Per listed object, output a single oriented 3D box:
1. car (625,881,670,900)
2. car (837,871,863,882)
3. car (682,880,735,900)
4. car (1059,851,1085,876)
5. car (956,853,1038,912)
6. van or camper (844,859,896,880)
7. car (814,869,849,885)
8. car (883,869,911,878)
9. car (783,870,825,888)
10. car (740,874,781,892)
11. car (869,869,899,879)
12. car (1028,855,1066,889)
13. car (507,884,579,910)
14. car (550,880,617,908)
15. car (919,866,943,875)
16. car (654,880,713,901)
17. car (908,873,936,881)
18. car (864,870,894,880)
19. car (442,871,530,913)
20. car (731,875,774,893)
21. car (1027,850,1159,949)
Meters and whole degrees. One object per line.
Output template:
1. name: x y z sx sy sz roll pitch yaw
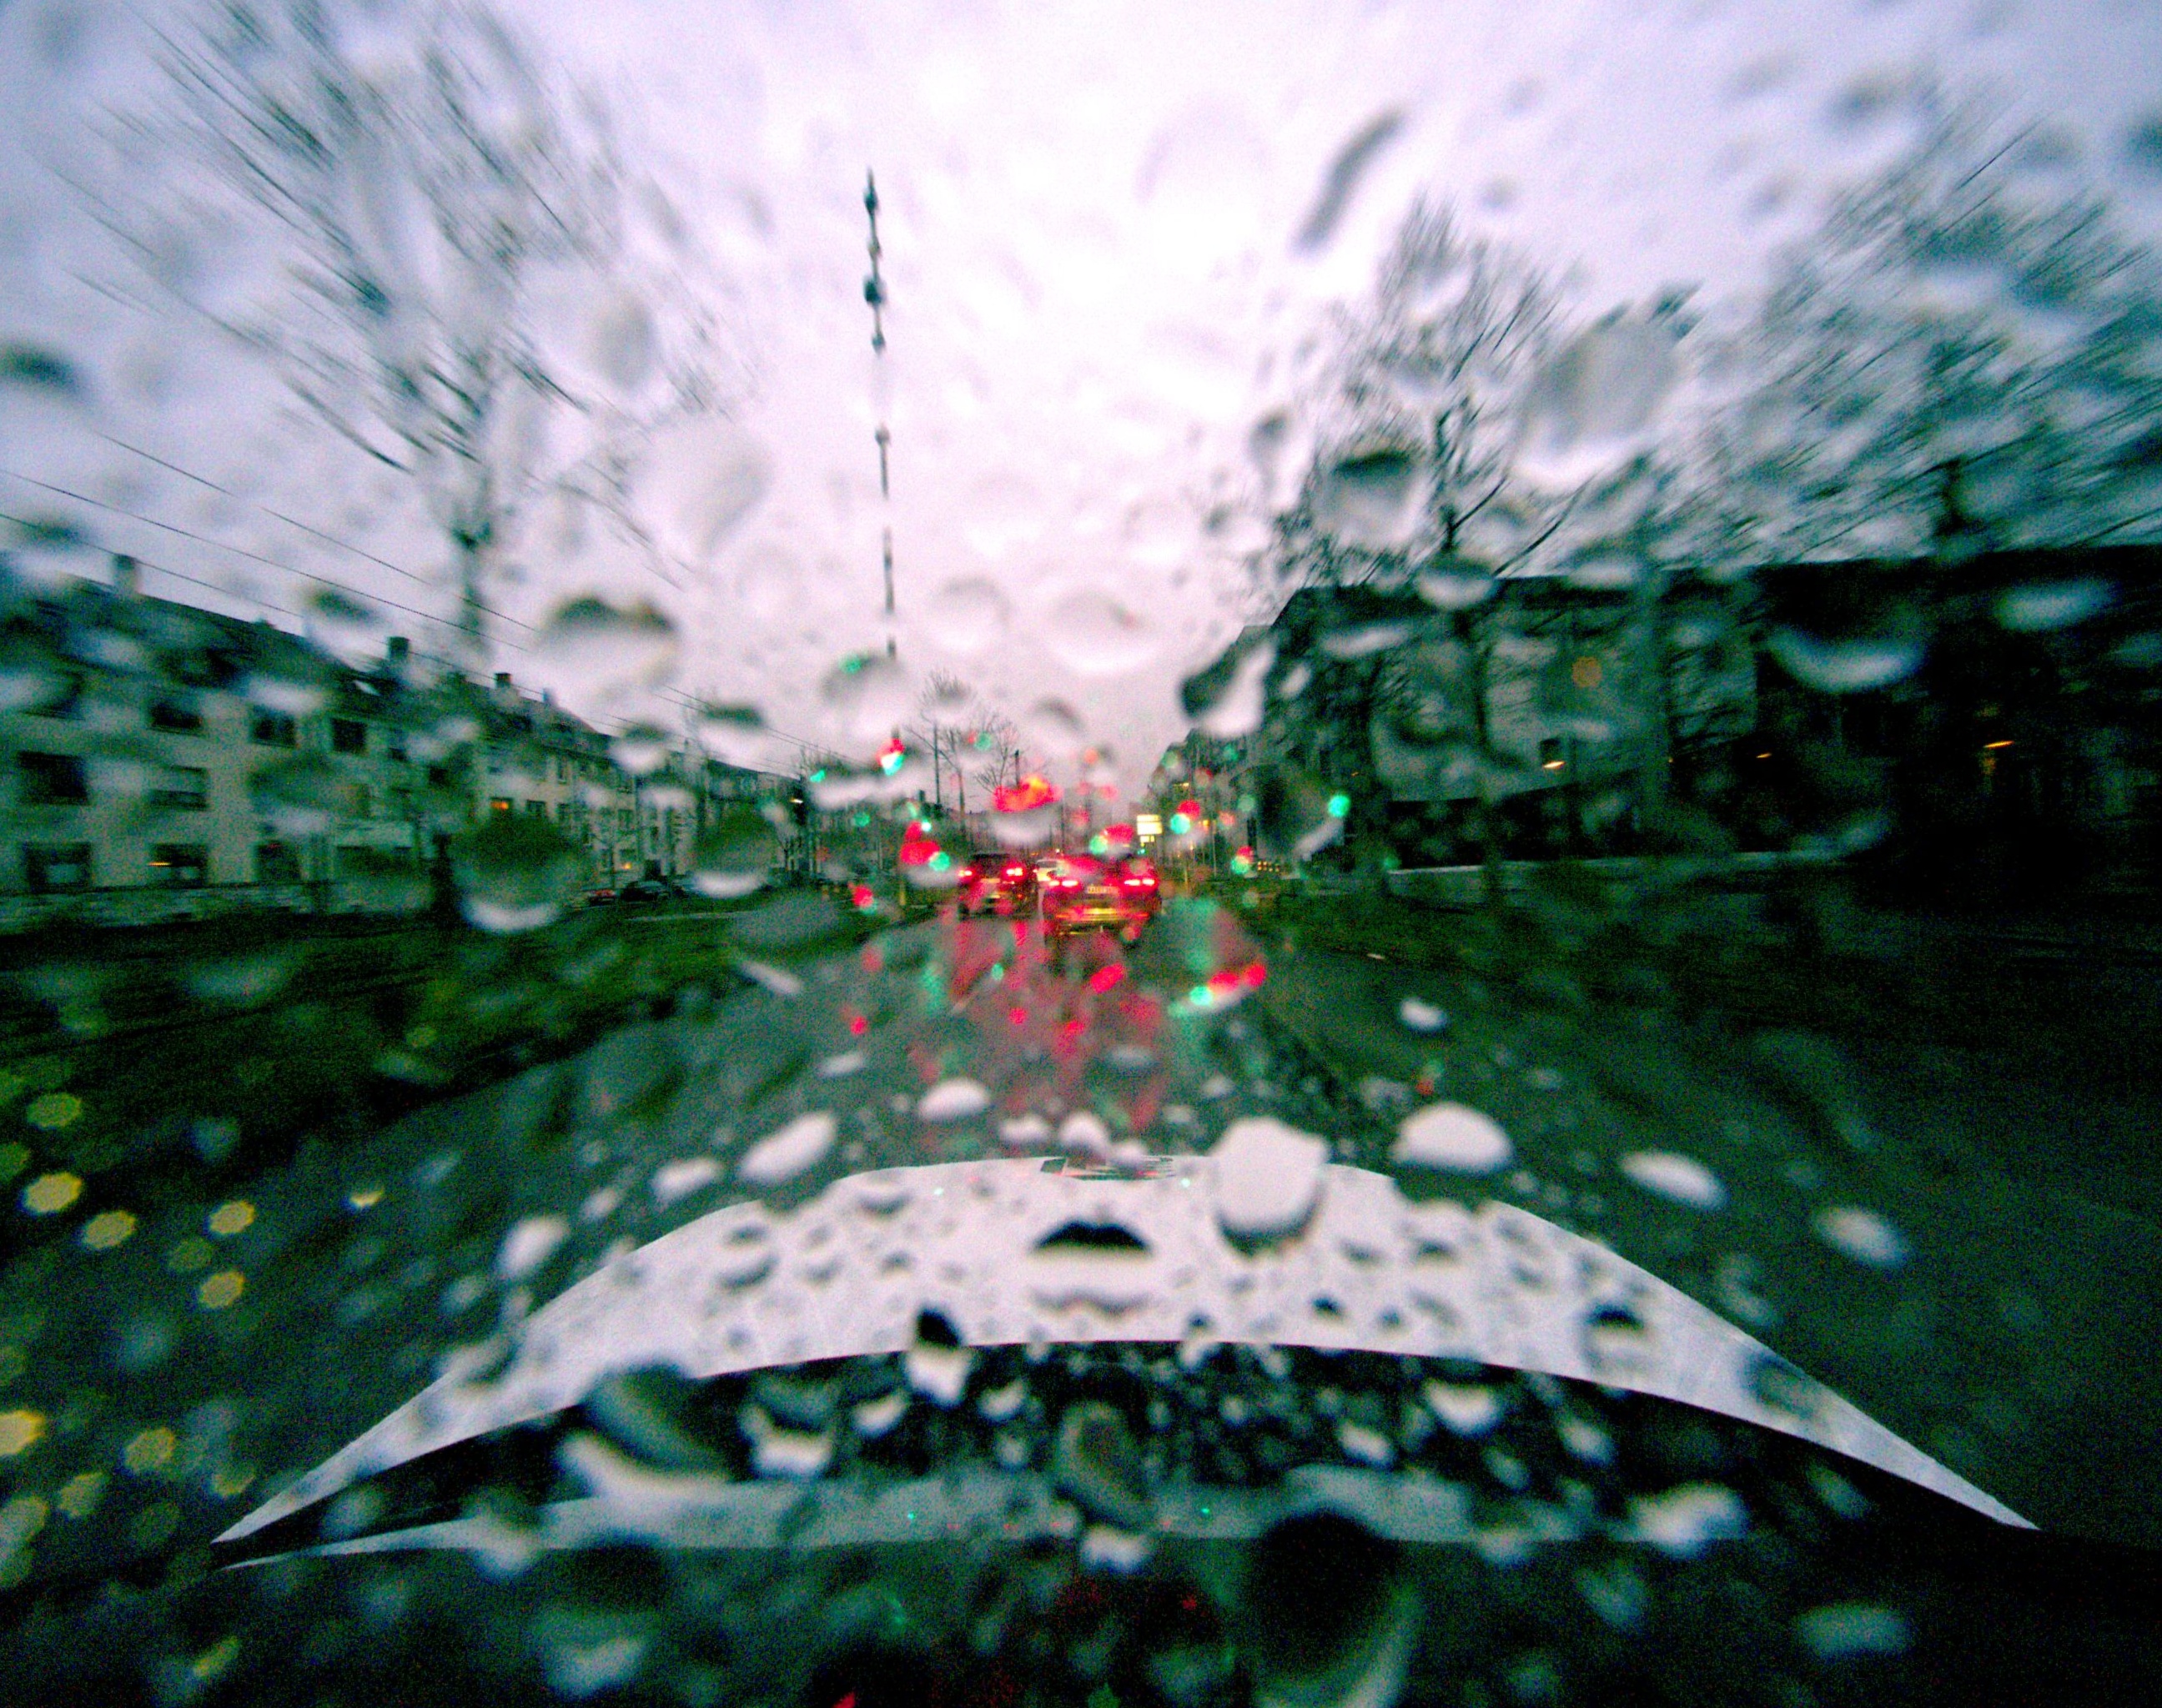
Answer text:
1. car: -26.250 2.176 49.320 2.361 1.048 1.446 0 1 34
2. car: -25.151 2.424 88.728 2.851 1.204 1.397 -1 -1 43
3. car: -25.450 2.420 55.611 3.794 1.245 1.749 0 0 37
4. car: -0.639 0.684 59.185 1.655 1.759 3.570 -1 -1 3
5. car: -2.201 0.724 22.304 1.812 1.450 3.999 -1 0 0
6. van or camper: -25.071 1.825 96.711 6.792 2.360 2.013 -1 -1 35
7. car: -25.169 2.318 82.134 3.800 1.588 1.753 -1 -1 43
8. car: -24.277 2.515 107.599 3.374 1.147 1.702 -1 0 33
9. car: -25.673 2.289 75.431 4.109 1.541 1.680 -1 -1 37
10. car: -25.866 2.325 65.722 3.342 1.422 1.680 -1 -1 40
11. car: -25.149 2.523 103.866 3.494 1.200 1.894 -1 0 33
12. car: -1.682 0.903 41.350 1.683 1.635 3.474 -1 0 1
13. car: -26.526 2.092 40.140 3.526 1.141 1.748 0 0 34
14. car: -26.346 2.093 43.081 3.534 1.309 1.697 0 0 34
15. car: -23.675 2.624 128.313 3.719 1.337 1.463 -2 0 37
16. car: -25.702 2.329 52.595 3.772 1.172 1.749 0 0 34
17. car: -23.590 3.456 120.804 4.135 1.116 1.692 -1 0 32
18. car: -25.173 2.585 101.426 3.494 1.212 1.759 -1 0 33
19. car: -26.870 1.663 36.738 4.598 1.723 1.845 0 0 35
20. car: -25.392 2.289 62.880 2.899 1.336 1.749 0 0 34
21. car: 0.228 0.709 14.167 1.986 1.483 3.701 -1 -1 1
